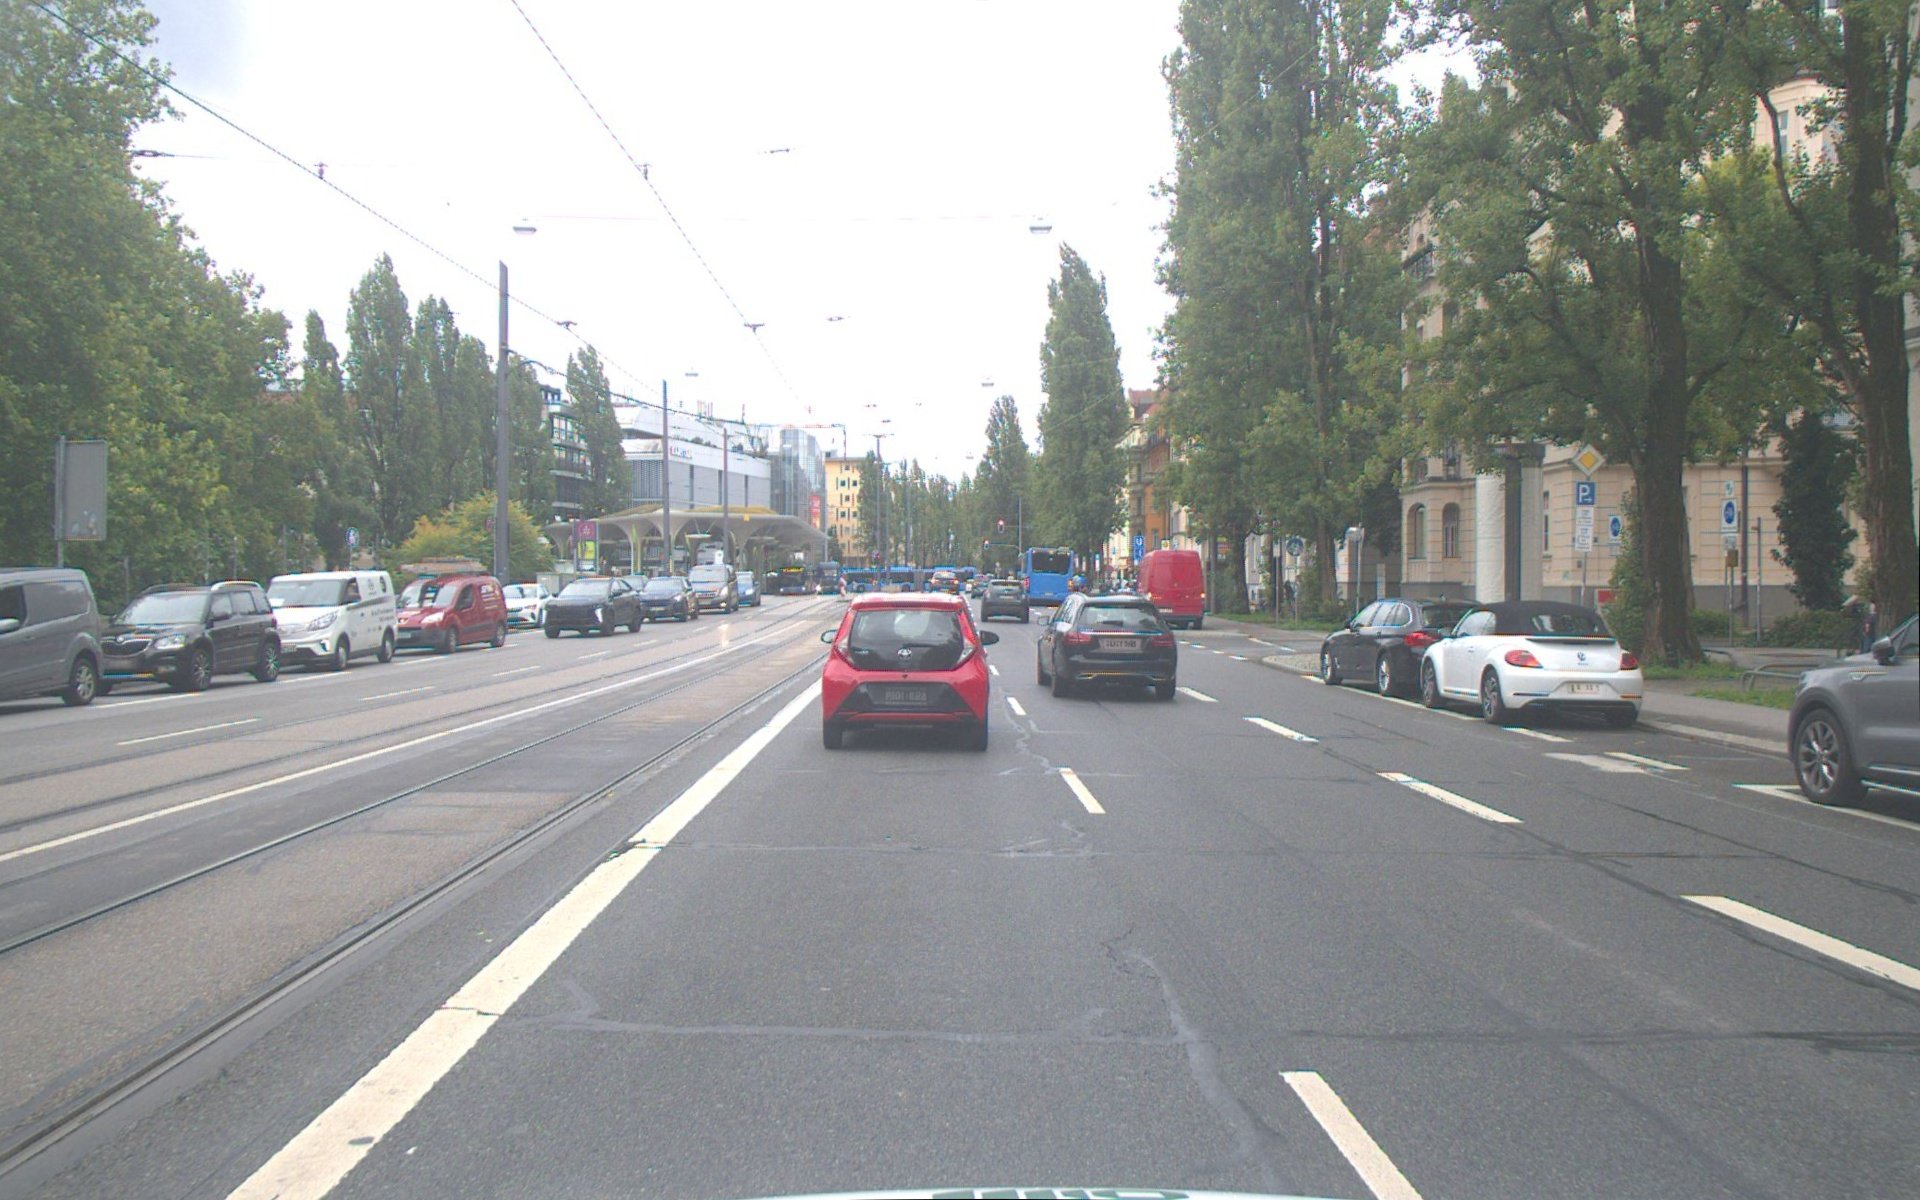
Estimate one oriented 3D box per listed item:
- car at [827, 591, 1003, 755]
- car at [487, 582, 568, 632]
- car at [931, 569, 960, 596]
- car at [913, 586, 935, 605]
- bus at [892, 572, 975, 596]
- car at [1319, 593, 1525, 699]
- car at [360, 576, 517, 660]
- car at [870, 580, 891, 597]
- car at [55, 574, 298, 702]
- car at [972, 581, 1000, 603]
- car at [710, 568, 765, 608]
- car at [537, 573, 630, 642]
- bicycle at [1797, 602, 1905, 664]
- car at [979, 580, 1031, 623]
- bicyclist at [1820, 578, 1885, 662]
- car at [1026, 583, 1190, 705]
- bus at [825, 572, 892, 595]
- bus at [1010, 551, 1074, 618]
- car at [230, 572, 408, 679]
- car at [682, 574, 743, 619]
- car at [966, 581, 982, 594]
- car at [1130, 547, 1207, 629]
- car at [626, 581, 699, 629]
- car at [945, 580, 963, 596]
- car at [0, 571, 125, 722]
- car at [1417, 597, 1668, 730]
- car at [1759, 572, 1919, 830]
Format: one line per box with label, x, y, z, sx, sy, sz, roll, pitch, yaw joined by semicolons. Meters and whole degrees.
car;-0.516;0.666;16.856;1.596;1.465;3.374;1;0;-4
car;-14.531;0.227;55.829;1.764;1.557;4.515;-2;0;-4
car;-0.901;-1.047;99.274;1.701;1.576;4.575;-1;1;-1
car;-2.934;-0.404;136.195;1.745;1.512;3.999;0;0;-1
bus;-3.346;-2.042;207.160;10.349;2.895;1.999;0;2;-5
car;7.195;0.655;26.252;1.764;1.534;4.447;0;0;-4
car;-12.351;0.373;39.519;1.761;1.819;4.523;-2;0;8
car;-7.222;-1.007;150.328;1.745;1.512;3.999;0;0;-1
car;-12.459;0.543;26.640;1.763;1.819;4.518;-2;0;-1
car;1.773;-0.571;114.035;1.745;1.512;3.999;0;0;-1
car;-10.294;-0.562;76.783;1.762;1.694;4.520;-2;0;2
car;-10.827;0.188;47.846;1.763;1.819;4.516;-2;0;-3
bicycle;14.384;0.523;26.762;0.639;0.939;1.902;-1;0;-3
car;1.644;0.038;61.299;1.745;1.512;3.999;0;0;-1
bicyclist;14.400;0.317;26.698;0.647;1.337;0.705;-1;0;-3
car;2.109;0.571;24.837;1.826;1.576;4.702;-1;1;-3
bus;-12.677;-2.057;206.336;8.301;2.895;1.999;0;2;-5
bus;4.527;-1.000;93.284;2.847;3.455;10.805;0;2;-1
car;-12.614;0.456;32.878;1.763;1.894;4.629;-2;0;-2
car;-9.992;-0.161;67.175;1.763;1.694;4.518;-2;0;0
car;1.562;-1.408;187.025;1.745;1.512;3.999;0;0;-1
car;7.014;-0.449;56.055;1.953;2.619;4.679;0;2;-1
car;-10.551;0.152;58.985;1.763;1.557;4.518;-2;0;0
car;-0.684;-1.333;185.117;1.766;1.624;4.001;0;-2;3
car;-12.522;0.591;20.775;1.763;1.819;4.518;-2;0;-1
car;7.330;0.733;21.243;1.763;1.534;3.999;0;0;-1
car;7.476;0.684;11.150;1.763;1.773;4.698;-1;0;-2
